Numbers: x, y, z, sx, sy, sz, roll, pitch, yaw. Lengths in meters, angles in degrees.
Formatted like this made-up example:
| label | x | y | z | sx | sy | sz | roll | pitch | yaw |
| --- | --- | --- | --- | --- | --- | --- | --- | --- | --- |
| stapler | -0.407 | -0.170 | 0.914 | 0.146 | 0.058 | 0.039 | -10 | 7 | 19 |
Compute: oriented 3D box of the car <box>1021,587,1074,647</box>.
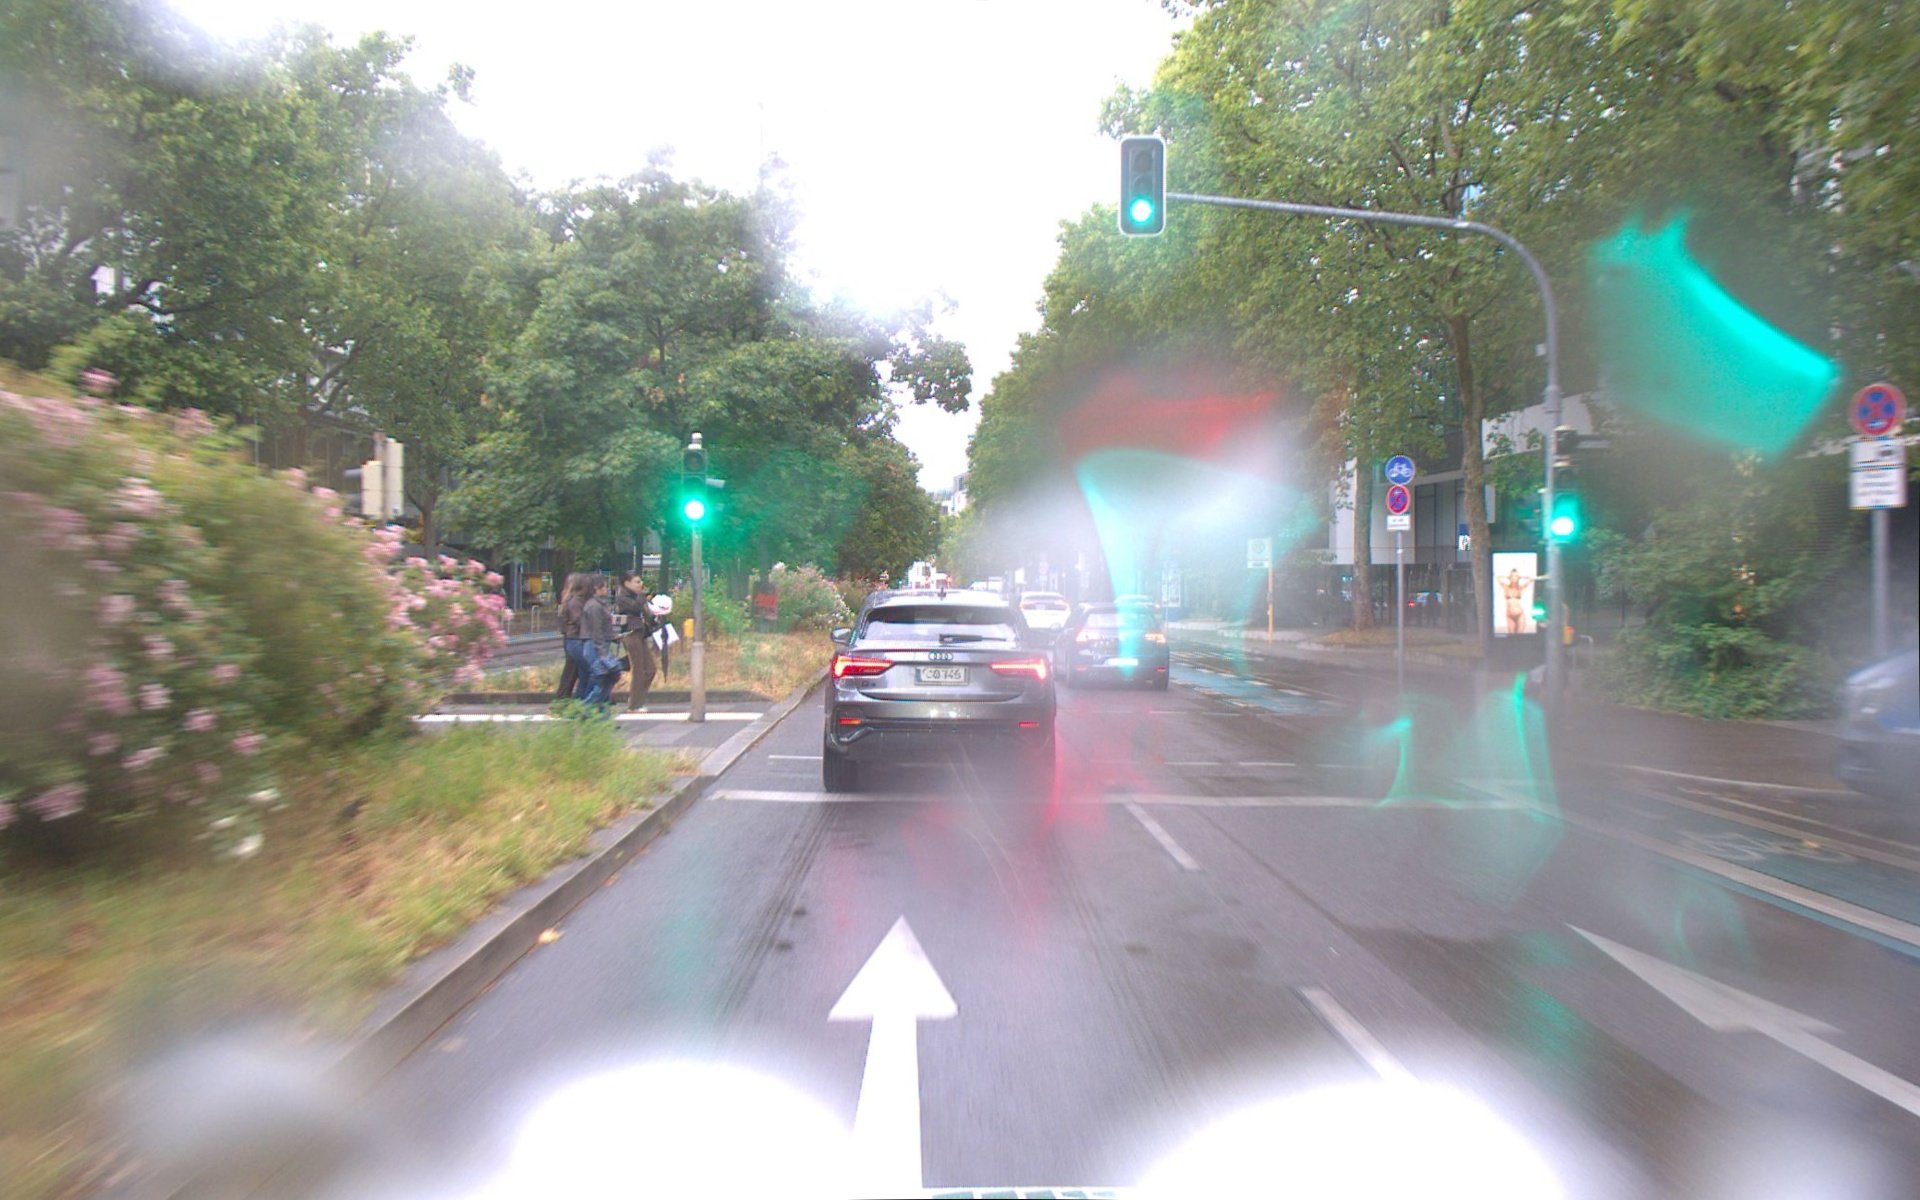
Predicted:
| label | x | y | z | sx | sy | sz | roll | pitch | yaw |
| --- | --- | --- | --- | --- | --- | --- | --- | --- | --- |
| car | 2.615 | 0.487 | 50.034 | 1.404 | 1.714 | 2.978 | 0 | 1 | -1 |

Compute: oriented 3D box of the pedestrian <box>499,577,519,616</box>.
| label | x | y | z | sx | sy | sz | roll | pitch | yaw |
| --- | --- | --- | --- | --- | --- | --- | --- | --- | --- |
| pedestrian | -23.902 | -0.206 | 87.625 | 0.862 | 2.049 | 0.635 | 0 | 0 | -2 |

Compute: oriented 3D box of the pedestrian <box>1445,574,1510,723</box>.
| label | x | y | z | sx | sy | sz | roll | pitch | yaw |
| --- | --- | --- | --- | --- | --- | --- | --- | --- | --- |
| pedestrian | 6.567 | 0.607 | 21.012 | 0.595 | 1.863 | 0.563 | 0 | 0 | -11 |

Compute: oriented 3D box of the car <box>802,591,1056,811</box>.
| label | x | y | z | sx | sy | sz | roll | pitch | yaw |
| --- | --- | --- | --- | --- | --- | --- | --- | --- | --- |
| car | -0.212 | 0.714 | 14.192 | 1.825 | 1.559 | 4.527 | 0 | 1 | 0 |

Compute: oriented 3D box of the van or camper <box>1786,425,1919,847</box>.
| label | x | y | z | sx | sy | sz | roll | pitch | yaw |
| --- | --- | --- | --- | --- | --- | --- | --- | --- | --- |
| van or camper | 8.478 | 0.250 | 10.301 | 5.701 | 2.724 | 2.139 | 1 | 0 | 37 |

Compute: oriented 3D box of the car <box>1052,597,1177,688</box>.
| label | x | y | z | sx | sy | sz | roll | pitch | yaw |
| --- | --- | --- | --- | --- | --- | --- | --- | --- | --- |
| car | 2.646 | 0.689 | 29.110 | 1.729 | 1.437 | 3.999 | 0 | 1 | -2 |

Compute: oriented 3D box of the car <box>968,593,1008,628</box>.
| label | x | y | z | sx | sy | sz | roll | pitch | yaw |
| --- | --- | --- | --- | --- | --- | --- | --- | --- | --- |
| car | 1.446 | 0.526 | 86.587 | 1.953 | 1.780 | 3.999 | 0 | 1 | -1 |

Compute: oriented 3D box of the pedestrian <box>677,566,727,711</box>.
| label | x | y | z | sx | sy | sz | roll | pitch | yaw |
| --- | --- | --- | --- | --- | --- | --- | --- | --- | --- |
| pedestrian | -3.114 | 0.453 | 19.969 | 0.563 | 1.728 | 0.403 | 0 | 0 | -13 |

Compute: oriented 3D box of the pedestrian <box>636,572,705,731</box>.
| label | x | y | z | sx | sy | sz | roll | pitch | yaw |
| --- | --- | --- | --- | --- | --- | --- | --- | --- | --- |
| pedestrian | -3.100 | 0.537 | 17.683 | 0.603 | 1.670 | 0.601 | 0 | 0 | -24 |

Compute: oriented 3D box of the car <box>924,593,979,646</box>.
| label | x | y | z | sx | sy | sz | roll | pitch | yaw |
| --- | --- | --- | --- | --- | --- | --- | --- | --- | --- |
| car | -0.304 | 0.605 | 52.809 | 1.687 | 1.605 | 3.961 | 0 | 1 | -1 |
